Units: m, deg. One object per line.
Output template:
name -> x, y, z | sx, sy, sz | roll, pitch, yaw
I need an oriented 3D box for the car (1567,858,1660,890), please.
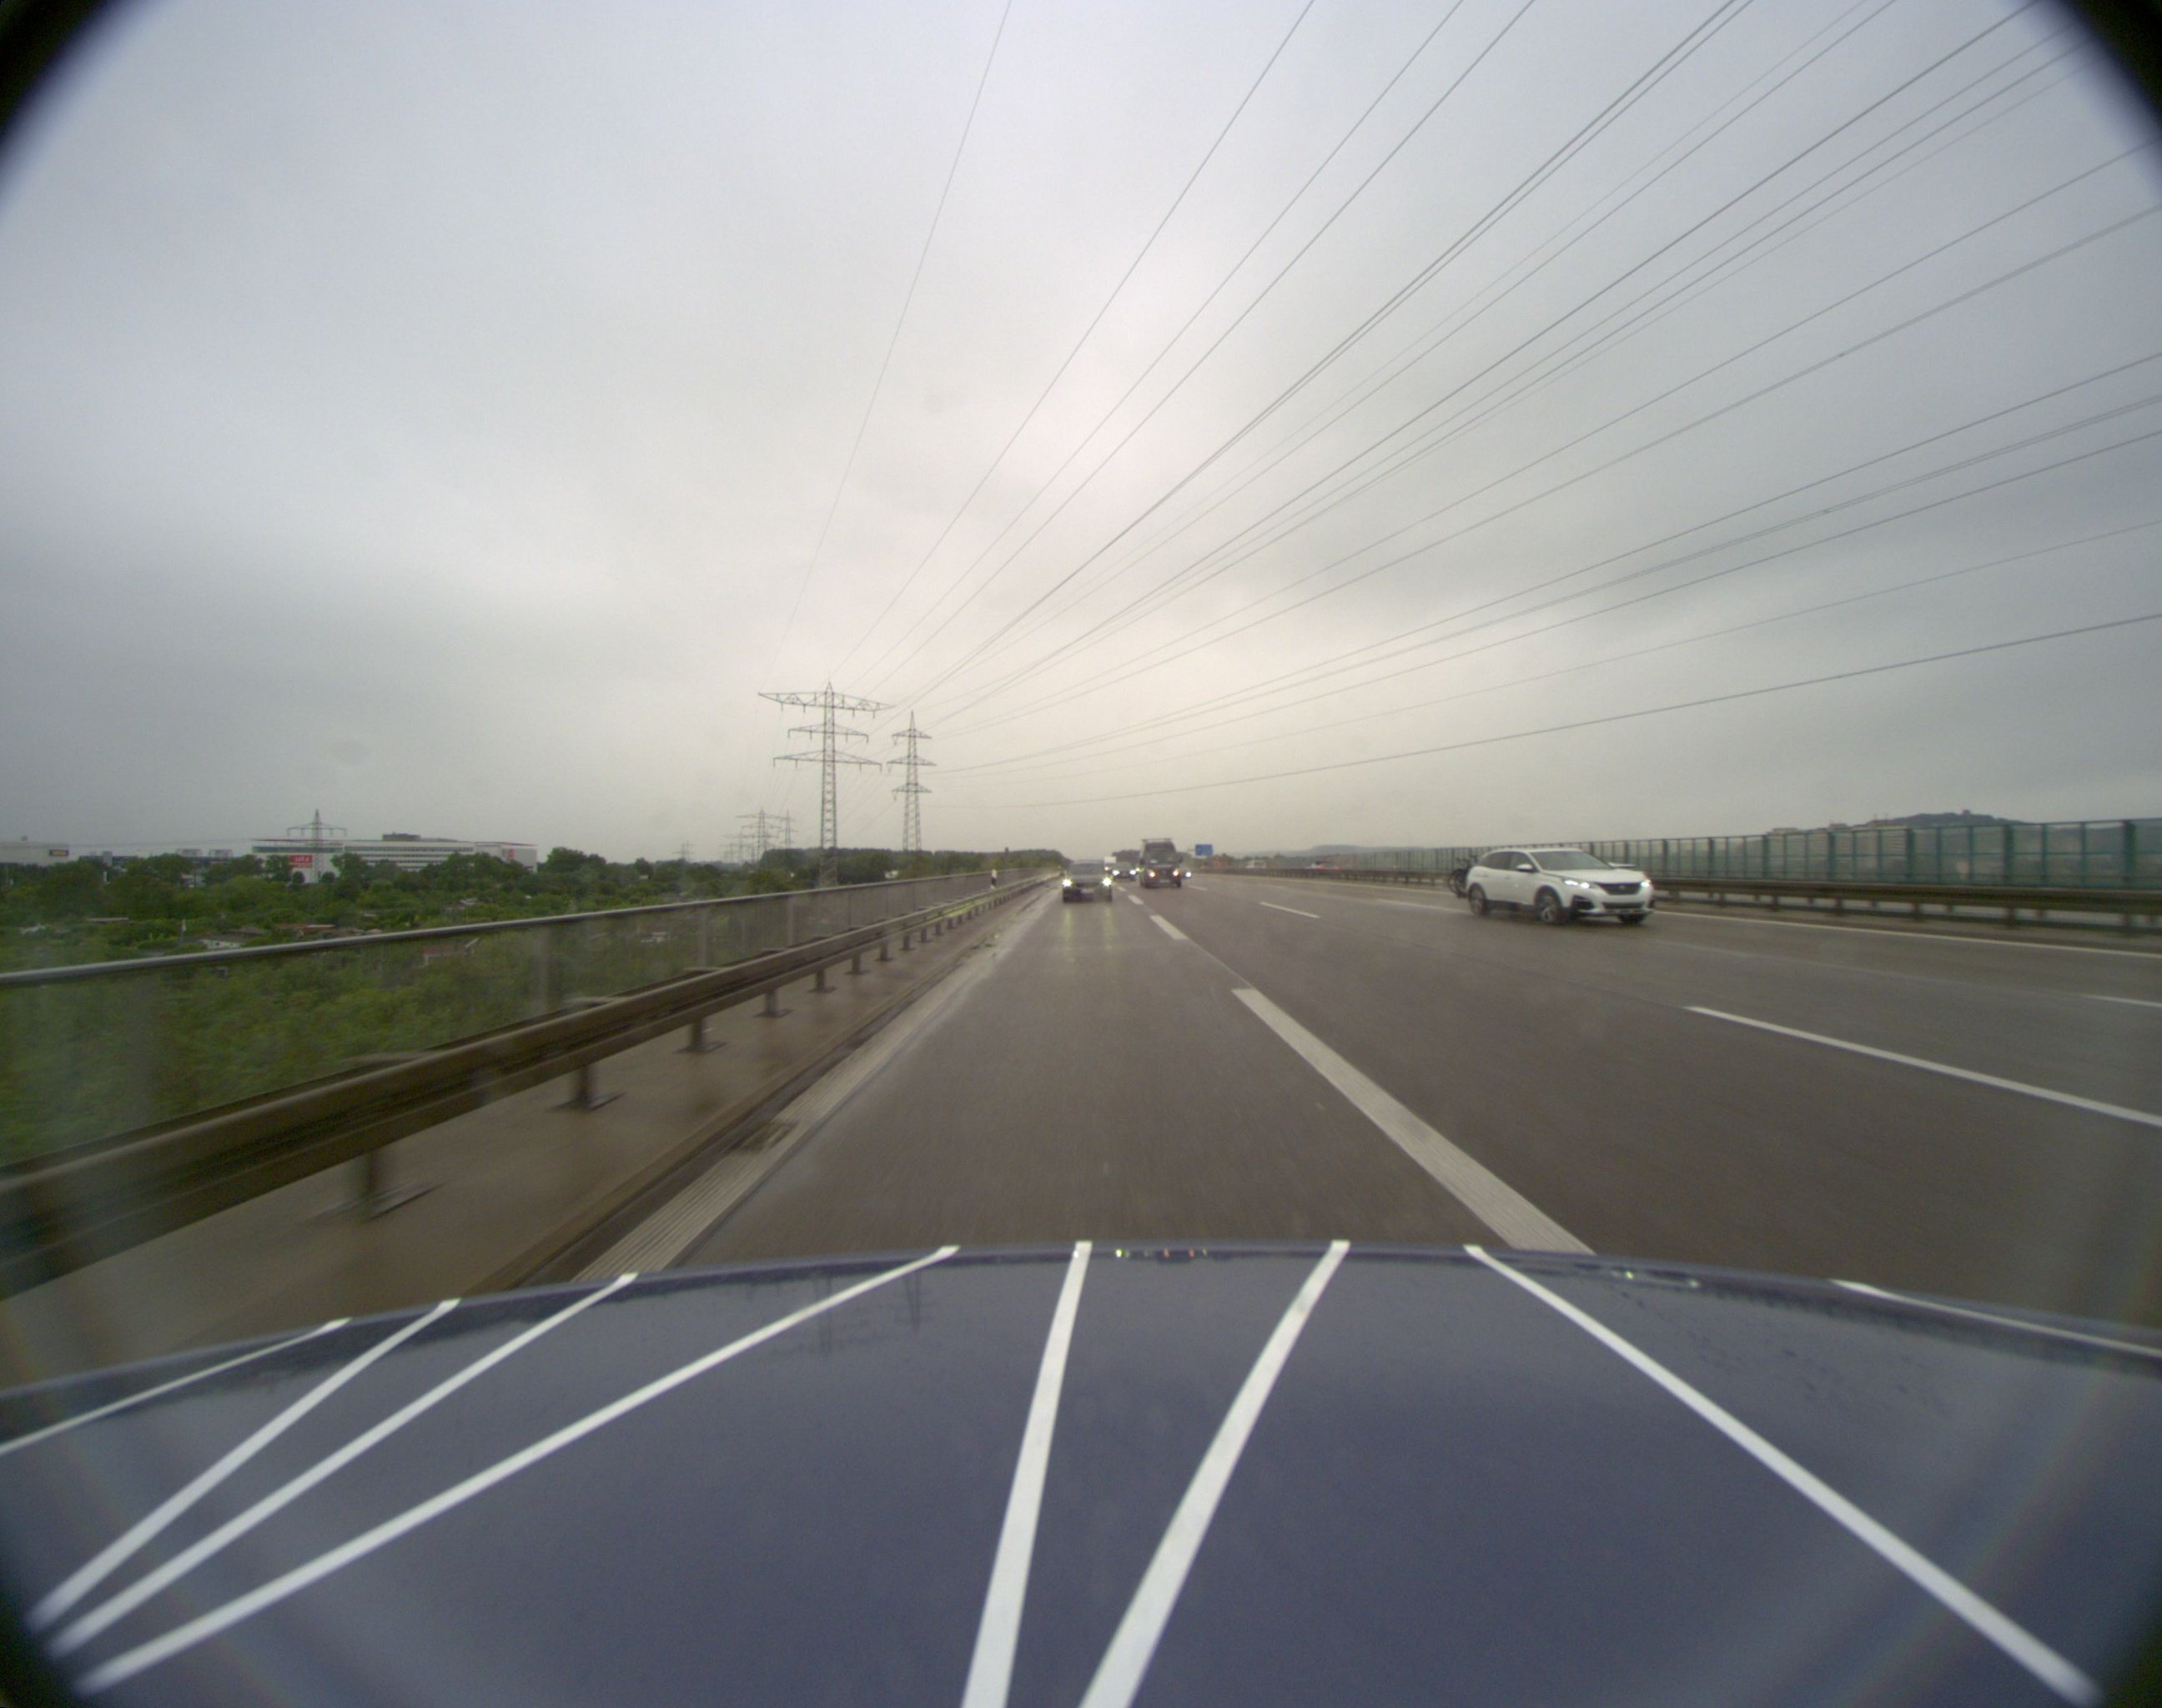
car -> 30.686, 1.103, 43.954 | 1.999, 1.655, 4.701 | -3, 0, 0

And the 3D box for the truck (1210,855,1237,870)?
truck -> 32.552, 1.925, 174.079 | 3.619, 2.819, 14.318 | -2, 1, 1

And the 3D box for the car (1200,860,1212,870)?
car -> 24.592, 2.157, 149.180 | 1.629, 1.575, 3.786 | -7, -1, 1

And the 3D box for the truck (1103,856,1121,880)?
truck -> 5.628, 2.481, 138.369 | 2.704, 4.171, 8.924 | -2, -1, 0

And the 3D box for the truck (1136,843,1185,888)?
truck -> 4.396, 0.543, 43.003 | 1.999, 2.324, 6.108 | -1, 1, -1

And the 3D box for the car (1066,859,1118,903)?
car -> 0.397, 1.000, 30.310 | 1.862, 1.531, 4.202 | -2, 0, -1

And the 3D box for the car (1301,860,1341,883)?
car -> 19.928, 1.406, 63.347 | 1.846, 1.734, 4.467 | 2, 1, 0

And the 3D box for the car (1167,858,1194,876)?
car -> 8.343, 1.106, 64.016 | 1.729, 1.394, 4.830 | -2, -1, 2

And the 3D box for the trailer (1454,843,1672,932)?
trailer -> 10.051, 0.631, 16.373 | 1.819, 1.615, 4.568 | -1, 0, 1

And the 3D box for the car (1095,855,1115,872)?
car -> 2.501, 1.003, 80.270 | 1.998, 1.706, 3.999 | 1, 1, 0

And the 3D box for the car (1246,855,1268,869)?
car -> 24.248, 1.061, 104.618 | 1.926, 1.734, 4.467 | -2, 1, 0

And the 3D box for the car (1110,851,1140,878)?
car -> 3.463, 0.814, 60.877 | 1.999, 2.002, 4.784 | -2, 0, -1
